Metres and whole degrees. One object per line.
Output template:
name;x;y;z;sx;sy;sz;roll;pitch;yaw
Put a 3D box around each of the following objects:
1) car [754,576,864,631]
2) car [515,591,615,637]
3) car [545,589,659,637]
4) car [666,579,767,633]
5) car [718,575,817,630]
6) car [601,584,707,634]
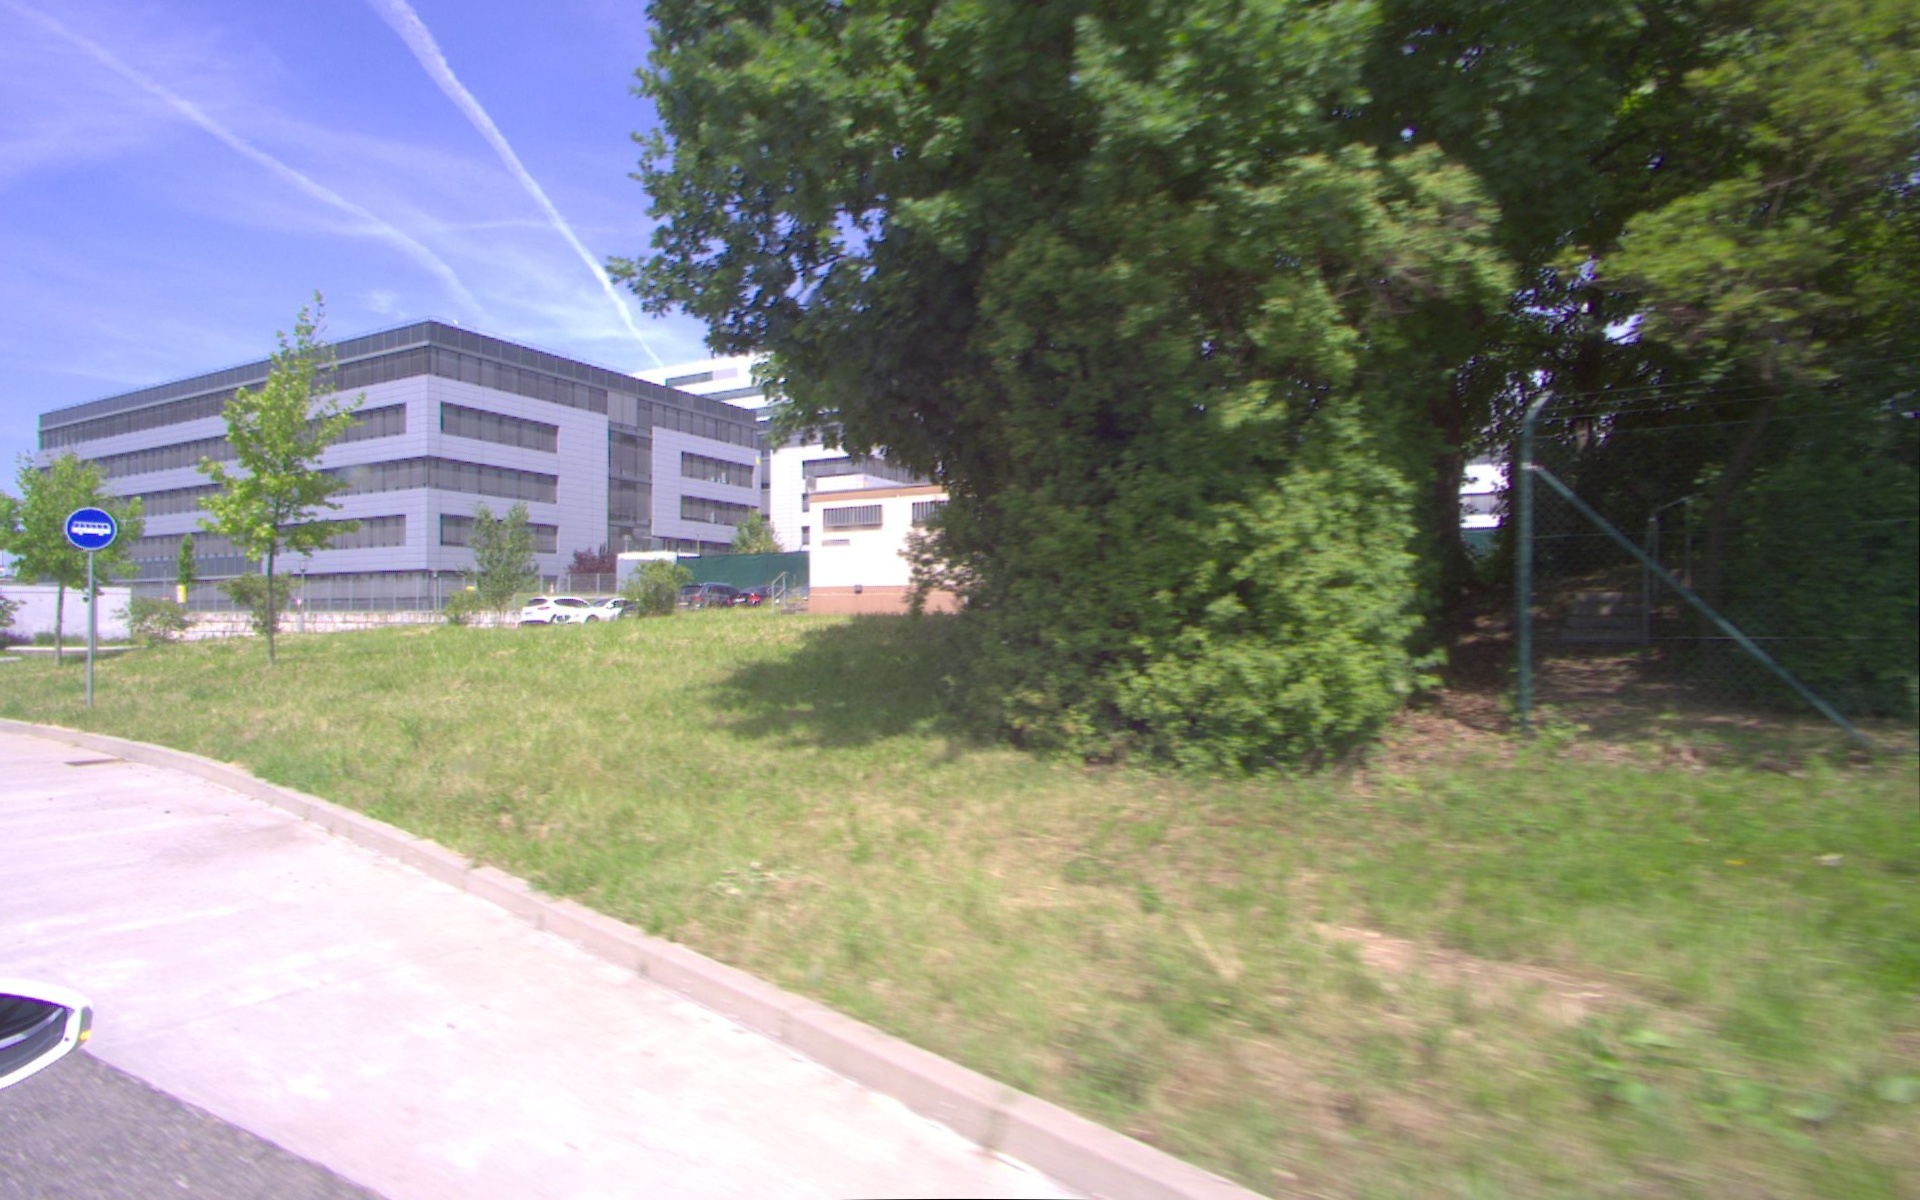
car;-5.685;0.102;38.255;1.947;1.838;4.348;-2;2;27
car;-17.808;0.591;45.347;1.729;1.838;3.982;-2;2;27
car;-15.647;0.533;43.967;1.948;1.790;4.544;-2;2;27
car;-9.805;0.200;40.624;1.729;1.947;3.982;-2;2;27
car;-7.586;0.065;39.869;1.729;1.947;3.982;-2;2;27
car;-12.638;0.346;41.595;1.947;1.838;3.982;-2;2;27
